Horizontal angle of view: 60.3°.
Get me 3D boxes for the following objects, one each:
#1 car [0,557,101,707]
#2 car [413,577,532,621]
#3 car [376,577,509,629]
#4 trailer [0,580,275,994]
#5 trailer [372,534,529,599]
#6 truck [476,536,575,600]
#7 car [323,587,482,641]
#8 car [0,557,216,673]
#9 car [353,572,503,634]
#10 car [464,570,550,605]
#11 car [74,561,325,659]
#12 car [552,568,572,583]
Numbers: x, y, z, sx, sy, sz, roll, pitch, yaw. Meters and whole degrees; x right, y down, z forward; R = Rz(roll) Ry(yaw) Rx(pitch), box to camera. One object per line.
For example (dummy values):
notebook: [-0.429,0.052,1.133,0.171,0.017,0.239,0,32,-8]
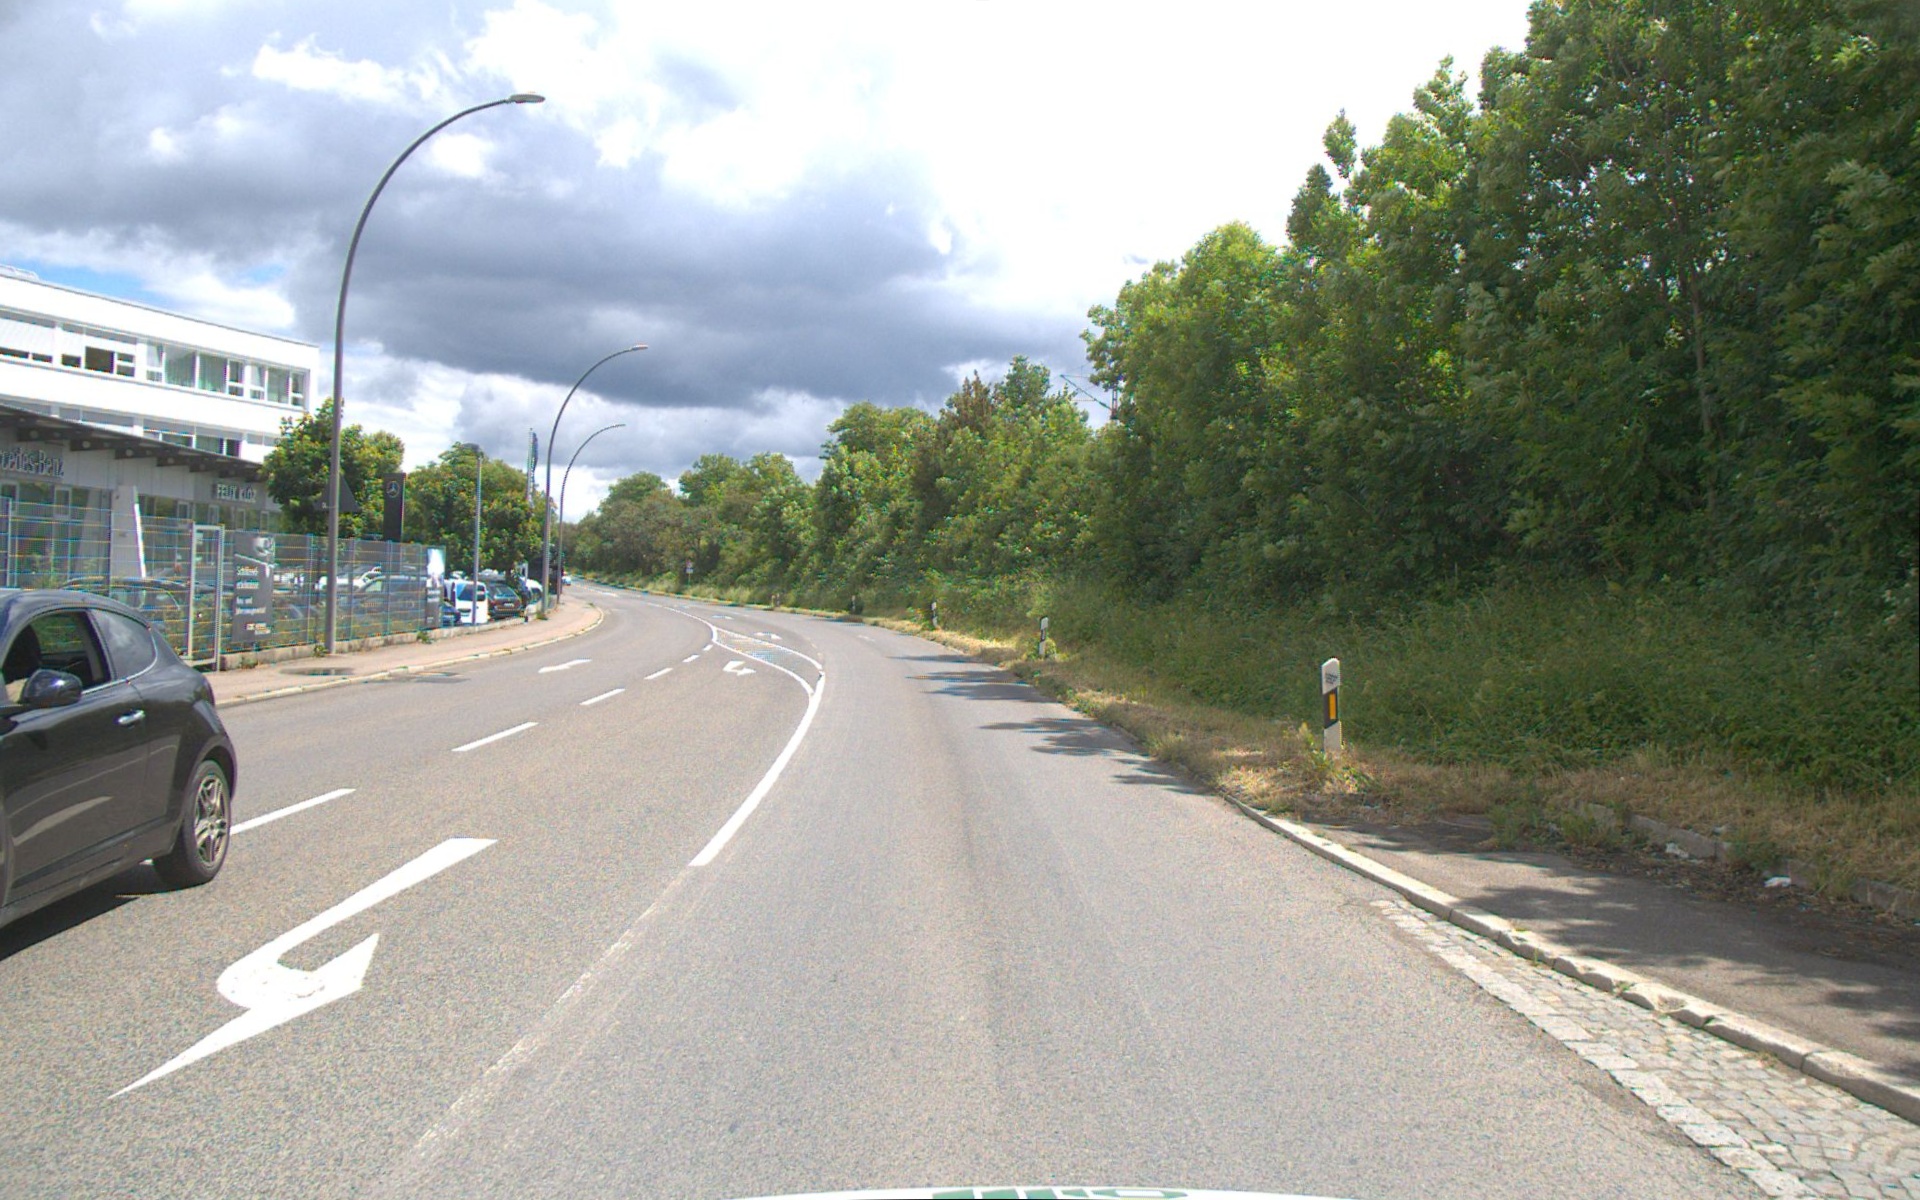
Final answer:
car: [-13.141,0.287,20.185,4.106,1.730,2.173,2,0,-1]
car: [-18.645,-0.022,63.223,4.106,1.505,1.795,2,0,22]
car: [-18.166,0.091,58.090,4.106,1.629,1.981,2,0,22]
trailer: [-4.251,0.649,6.620,1.615,1.448,3.996,1,1,-5]
trailer: [-33.650,-2.177,109.354,9.616,4.164,2.798,0,1,-30]
truck: [-29.361,-2.146,111.748,6.048,4.164,2.800,0,1,-28]
car: [-16.328,0.392,48.465,4.106,1.373,1.937,2,0,22]
car: [-14.756,0.204,27.098,4.108,1.730,2.172,2,0,-3]
car: [-16.393,0.085,50.999,3.893,1.730,2.173,2,0,22]
car: [-25.774,-0.715,94.118,4.282,1.793,1.968,2,0,-44]
car: [-14.751,0.193,32.238,3.998,1.694,1.795,2,0,0]
car: [-43.899,-2.704,182.496,1.961,1.564,3.982,2,0,-16]
